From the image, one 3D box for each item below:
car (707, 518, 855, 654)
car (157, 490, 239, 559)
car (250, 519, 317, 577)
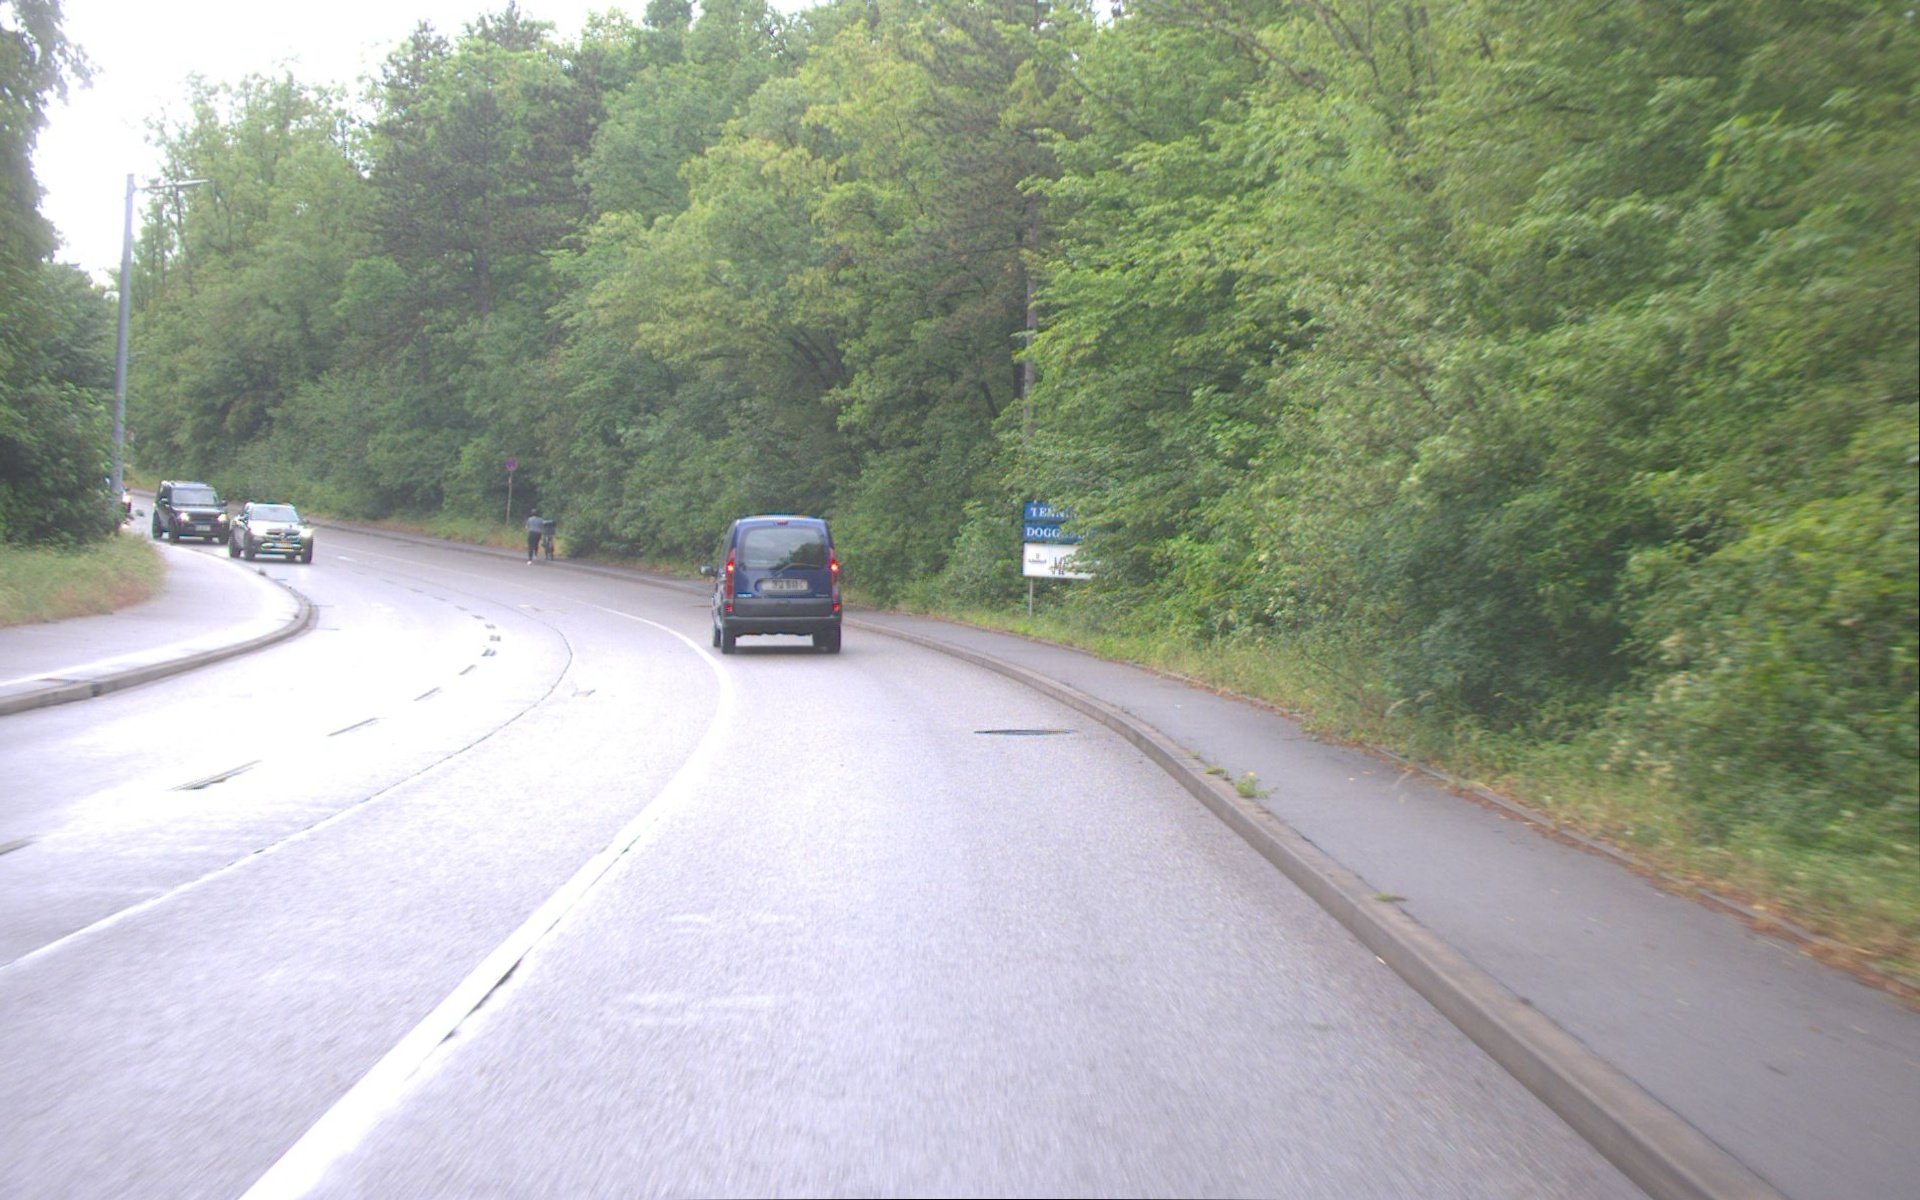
[{"bbox_3d":[-2.508,-0.239,47.379,1.827,1.787,4.001,0,1,-6],"label":"car"},{"bbox_3d":[-25.017,-2.456,112.791,1.826,1.837,4.711,1,-4,-22],"label":"car"},{"bbox_3d":[-19.714,-1.529,100.114,1.808,1.589,4.519,1,1,-12],"label":"car"}]
